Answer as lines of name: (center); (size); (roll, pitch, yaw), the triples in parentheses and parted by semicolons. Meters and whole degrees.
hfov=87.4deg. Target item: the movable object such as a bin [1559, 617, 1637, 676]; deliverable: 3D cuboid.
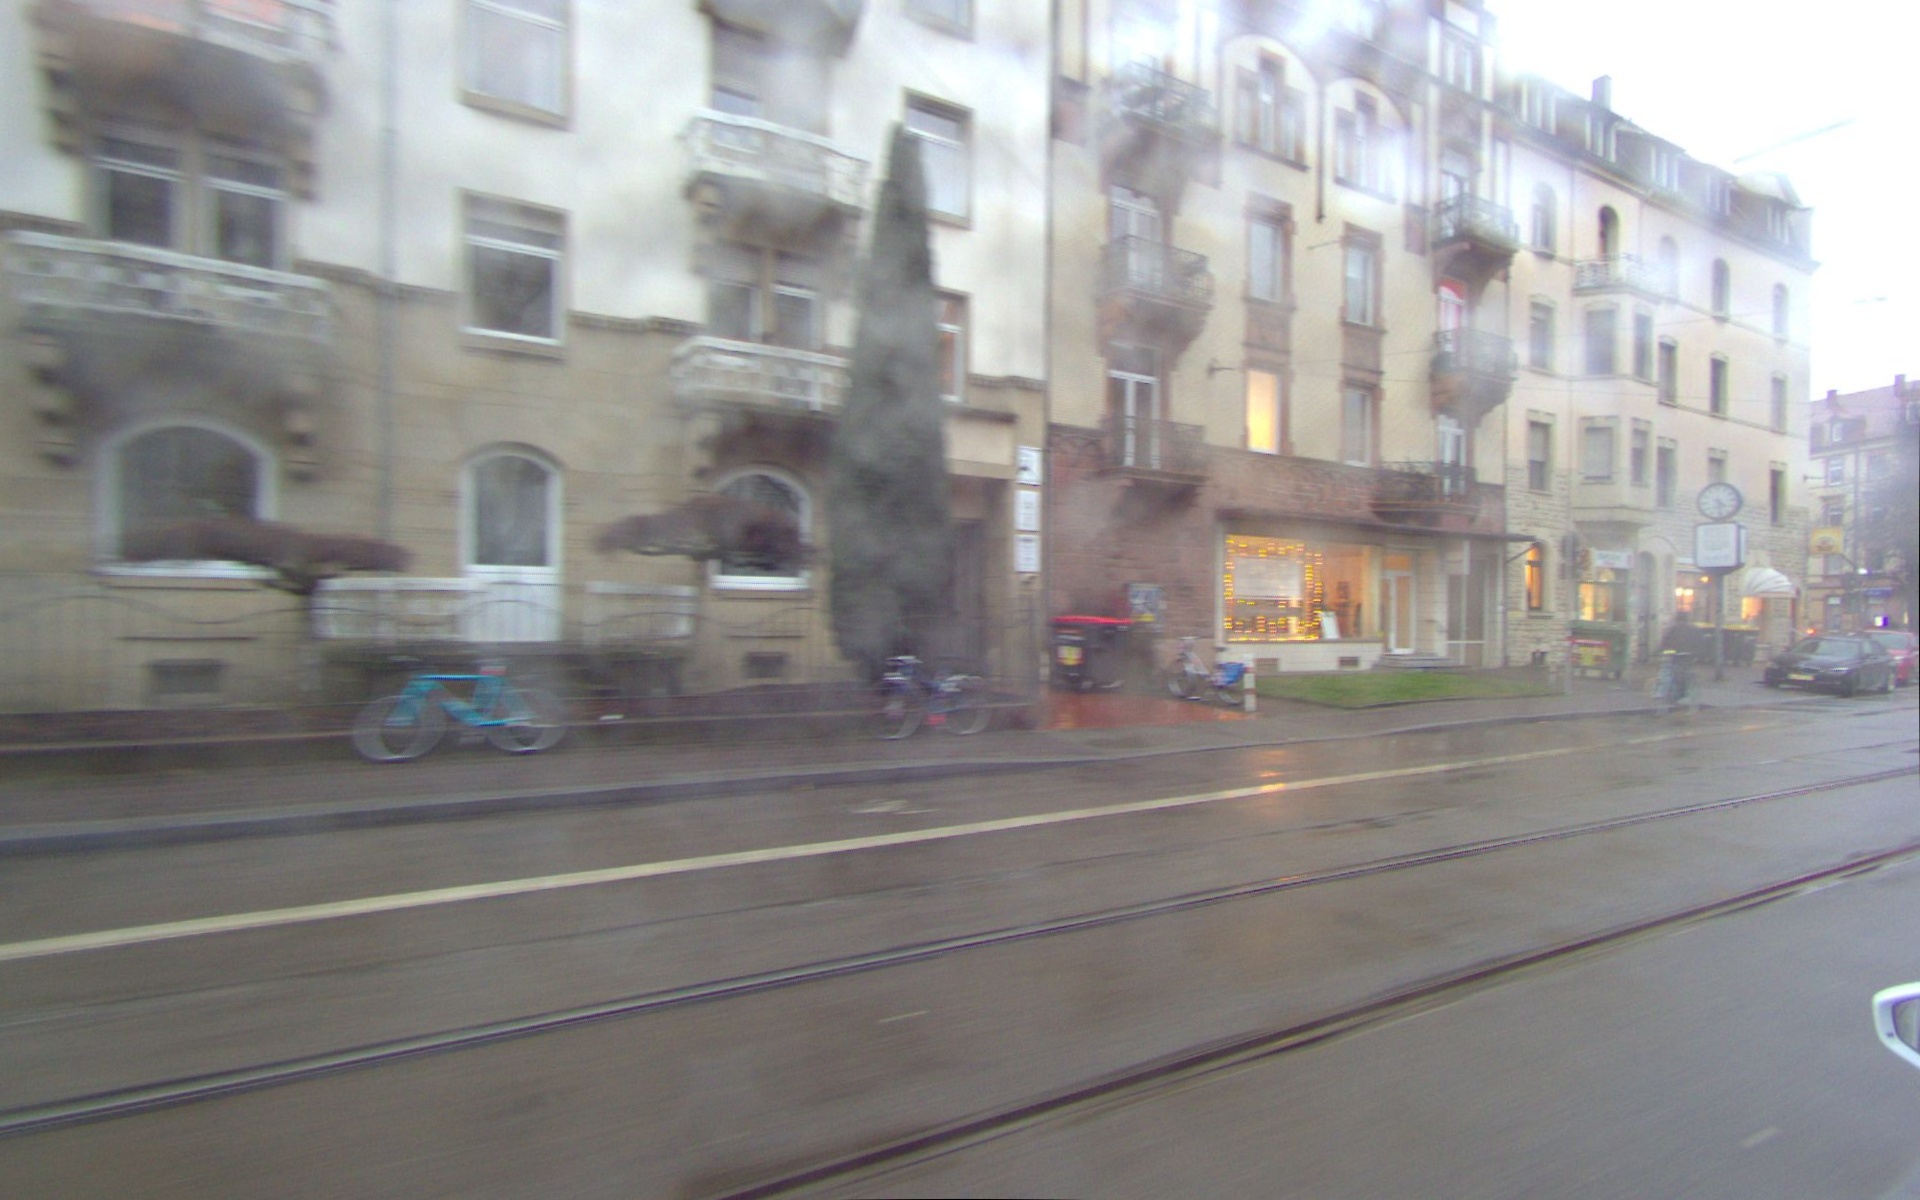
movable object such as a bin: (16.360, 1.170, 25.768); (1.235, 1.439, 1.261); (1, 0, -30)

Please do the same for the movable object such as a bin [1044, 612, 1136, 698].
movable object such as a bin: (2.305, 0.953, 17.893); (1.153, 1.398, 1.097); (1, 2, -29)

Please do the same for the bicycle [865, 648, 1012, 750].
bicycle: (-0.245, 1.133, 11.858); (1.642, 1.107, 0.621); (1, -1, -29)

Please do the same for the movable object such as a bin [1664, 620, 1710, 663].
movable object such as a bin: (24.100, 1.367, 33.299); (0.995, 1.396, 0.894); (1, 0, -30)

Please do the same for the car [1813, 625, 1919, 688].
car: (27.481, 1.615, 30.061); (3.992, 1.573, 2.023); (1, 3, -36)

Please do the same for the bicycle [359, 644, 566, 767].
bicycle: (-4.546, 0.931, 9.239); (1.642, 1.016, 0.621); (1, -1, -29)

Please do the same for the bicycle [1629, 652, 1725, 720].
bicycle: (12.721, 1.502, 17.807); (1.924, 1.107, 0.621); (1, -1, -29)

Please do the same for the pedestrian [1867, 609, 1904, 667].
pedestrian: (33.417, 1.361, 36.280); (0.635, 2.040, 0.758); (2, 0, 6)

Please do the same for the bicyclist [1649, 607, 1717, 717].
bicyclist: (12.879, 1.079, 17.886); (0.979, 1.901, 0.621); (1, 0, -29)

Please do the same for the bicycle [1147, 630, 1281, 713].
bicycle: (4.081, 1.114, 16.351); (0.687, 1.120, 2.338); (1, 2, -28)

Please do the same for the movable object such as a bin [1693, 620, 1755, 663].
movable object such as a bin: (25.592, 1.386, 33.647); (1.238, 1.385, 1.287); (1, 0, -30)

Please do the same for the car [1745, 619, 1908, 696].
car: (22.832, 1.484, 26.427); (4.582, 1.667, 1.974); (2, 4, -33)
